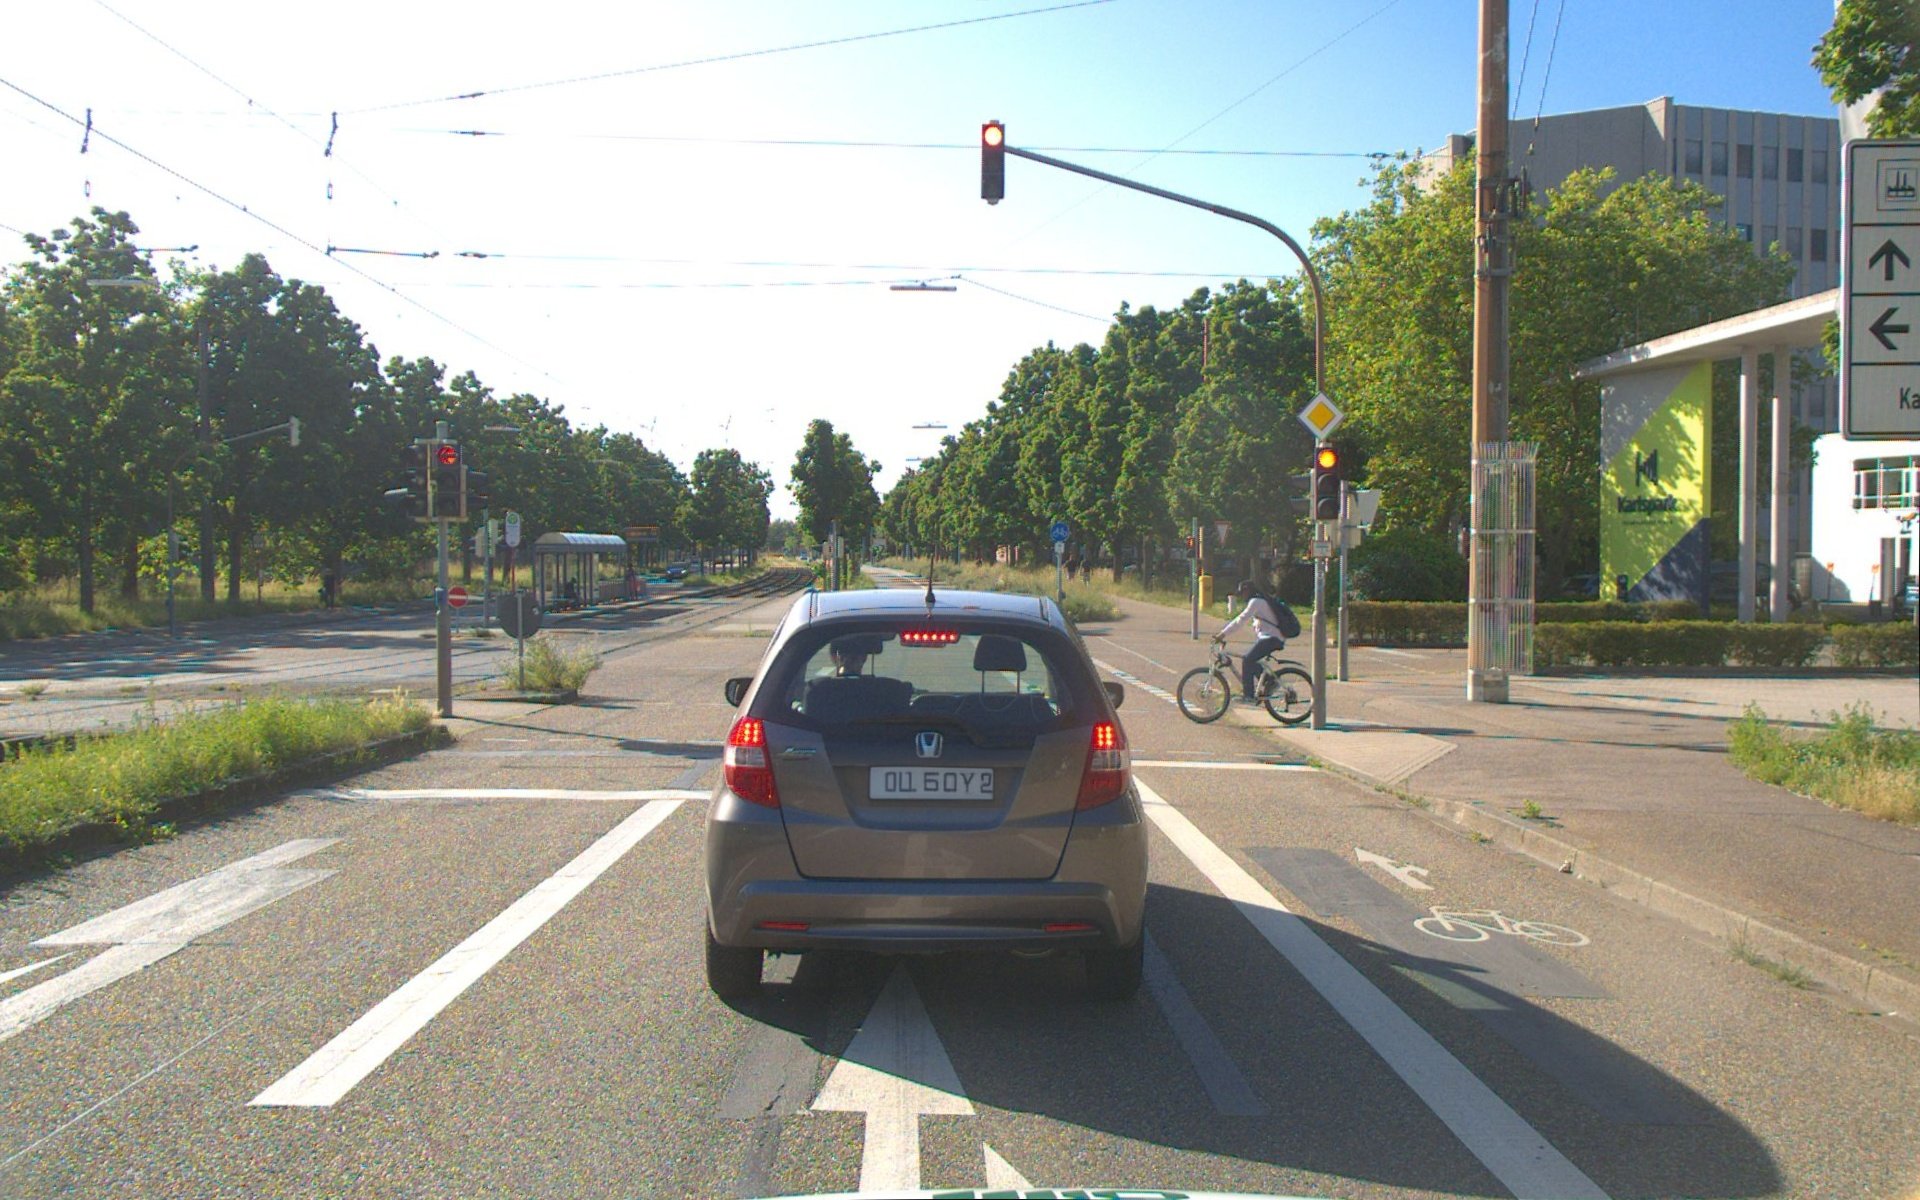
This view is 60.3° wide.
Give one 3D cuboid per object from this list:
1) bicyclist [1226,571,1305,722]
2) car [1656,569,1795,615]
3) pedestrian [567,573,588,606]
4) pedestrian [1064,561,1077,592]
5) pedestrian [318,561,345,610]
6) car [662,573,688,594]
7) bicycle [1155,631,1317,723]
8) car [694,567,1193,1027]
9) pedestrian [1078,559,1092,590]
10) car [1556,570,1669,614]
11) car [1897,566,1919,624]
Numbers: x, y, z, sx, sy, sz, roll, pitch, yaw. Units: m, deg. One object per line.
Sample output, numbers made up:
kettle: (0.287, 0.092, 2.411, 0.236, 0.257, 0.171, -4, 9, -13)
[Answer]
bicyclist: (3.685, 0.551, 19.999, 0.890, 1.775, 0.765, -1, 0, 10)
car: (28.094, -0.302, 60.703, 4.459, 1.658, 1.870, 0, 0, -14)
pedestrian: (-15.119, -0.414, 65.402, 0.706, 1.267, 0.710, -1, 0, -3)
pedestrian: (5.951, -1.273, 88.904, 0.556, 1.624, 0.665, 1, 0, -5)
pedestrian: (-26.914, -0.623, 70.856, 0.823, 2.049, 0.863, 0, 0, -3)
car: (-24.287, -1.414, 141.213, 1.731, 1.768, 3.998, 0, 0, -3)
bicycle: (3.336, 0.915, 20.049, 1.879, 1.015, 0.765, 1, 0, 10)
car: (-0.060, 0.657, 7.603, 1.672, 1.535, 4.000, 1, 0, 0)
pedestrian: (6.724, -1.368, 88.987, 0.664, 1.638, 0.720, 1, 0, -3)
car: (26.711, -0.329, 67.750, 3.919, 1.788, 1.993, 0, 0, -14)
car: (31.047, -0.147, 50.559, 3.915, 1.750, 1.895, 0, 1, -10)
